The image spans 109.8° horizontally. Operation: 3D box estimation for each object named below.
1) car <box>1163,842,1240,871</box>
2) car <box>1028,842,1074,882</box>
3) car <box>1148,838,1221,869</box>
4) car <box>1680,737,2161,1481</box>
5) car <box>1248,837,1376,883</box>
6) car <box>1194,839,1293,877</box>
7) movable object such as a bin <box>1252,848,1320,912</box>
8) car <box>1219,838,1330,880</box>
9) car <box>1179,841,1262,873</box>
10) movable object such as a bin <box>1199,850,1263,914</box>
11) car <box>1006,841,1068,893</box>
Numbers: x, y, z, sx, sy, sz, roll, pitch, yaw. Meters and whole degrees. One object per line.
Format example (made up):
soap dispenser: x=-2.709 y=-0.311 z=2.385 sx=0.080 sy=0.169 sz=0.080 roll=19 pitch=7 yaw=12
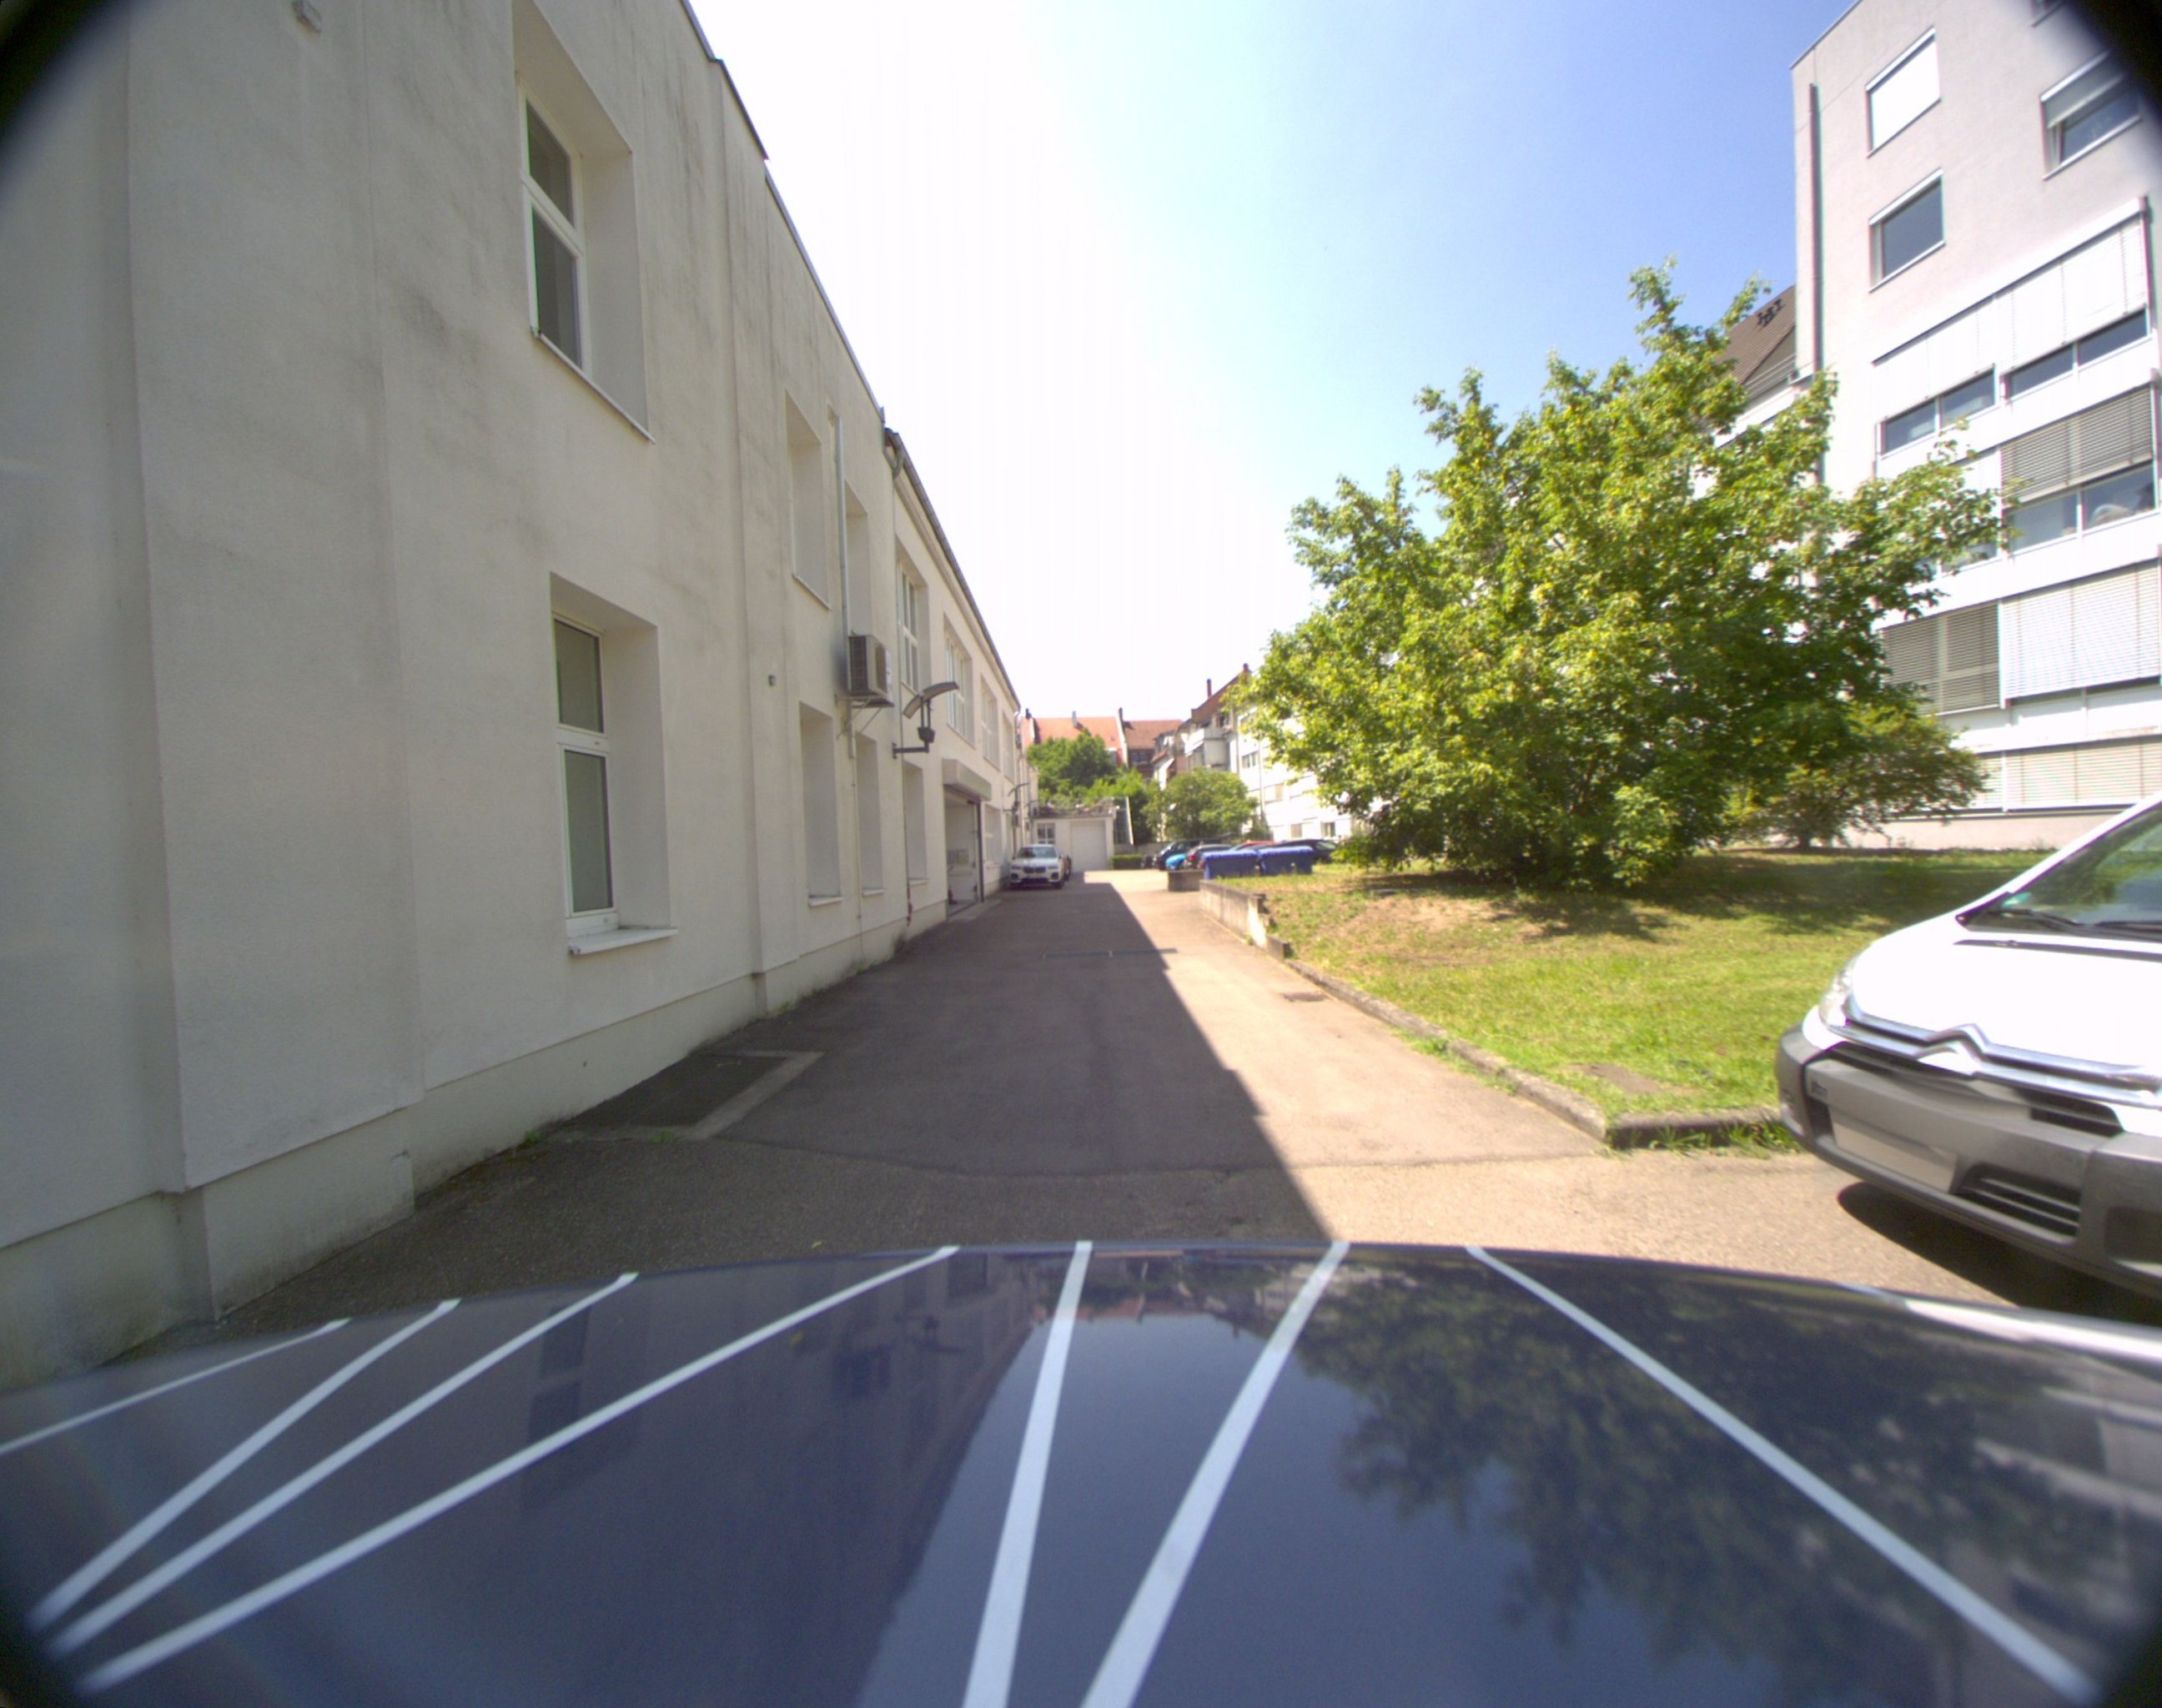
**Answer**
car: x=7.112 y=0.121 z=45.191 sx=4.223 sy=1.560 sz=1.612 roll=-2 pitch=2 yaw=-5
car: x=-1.452 y=0.362 z=38.973 sx=2.011 sy=1.793 sz=4.726 roll=-2 pitch=1 yaw=1
car: x=6.526 y=-0.052 z=48.130 sx=4.223 sy=1.813 sz=2.008 roll=-2 pitch=2 yaw=-5
car: x=5.149 y=0.542 z=2.356 sx=4.859 sy=1.873 sz=2.067 roll=-2 pitch=2 yaw=3
car: x=8.921 y=0.213 z=29.481 sx=4.445 sy=1.560 sz=1.612 roll=-2 pitch=2 yaw=-5
car: x=7.557 y=0.157 z=35.509 sx=4.223 sy=1.560 sz=1.612 roll=-2 pitch=2 yaw=-5
movable object such as a bin: x=4.795 y=0.592 z=17.848 sx=1.271 sy=1.381 sz=1.095 roll=-2 pitch=2 yaw=1
car: x=8.170 y=0.178 z=32.196 sx=4.223 sy=1.560 sz=1.612 roll=-2 pitch=2 yaw=-5
car: x=7.683 y=0.152 z=42.126 sx=4.223 sy=1.560 sz=1.612 roll=-2 pitch=2 yaw=-5
movable object such as a bin: x=3.497 y=0.642 z=17.842 sx=1.271 sy=1.381 sz=1.095 roll=-2 pitch=2 yaw=1
car: x=-1.654 y=0.425 z=30.172 sx=2.011 sy=1.793 sz=4.726 roll=-2 pitch=1 yaw=1
